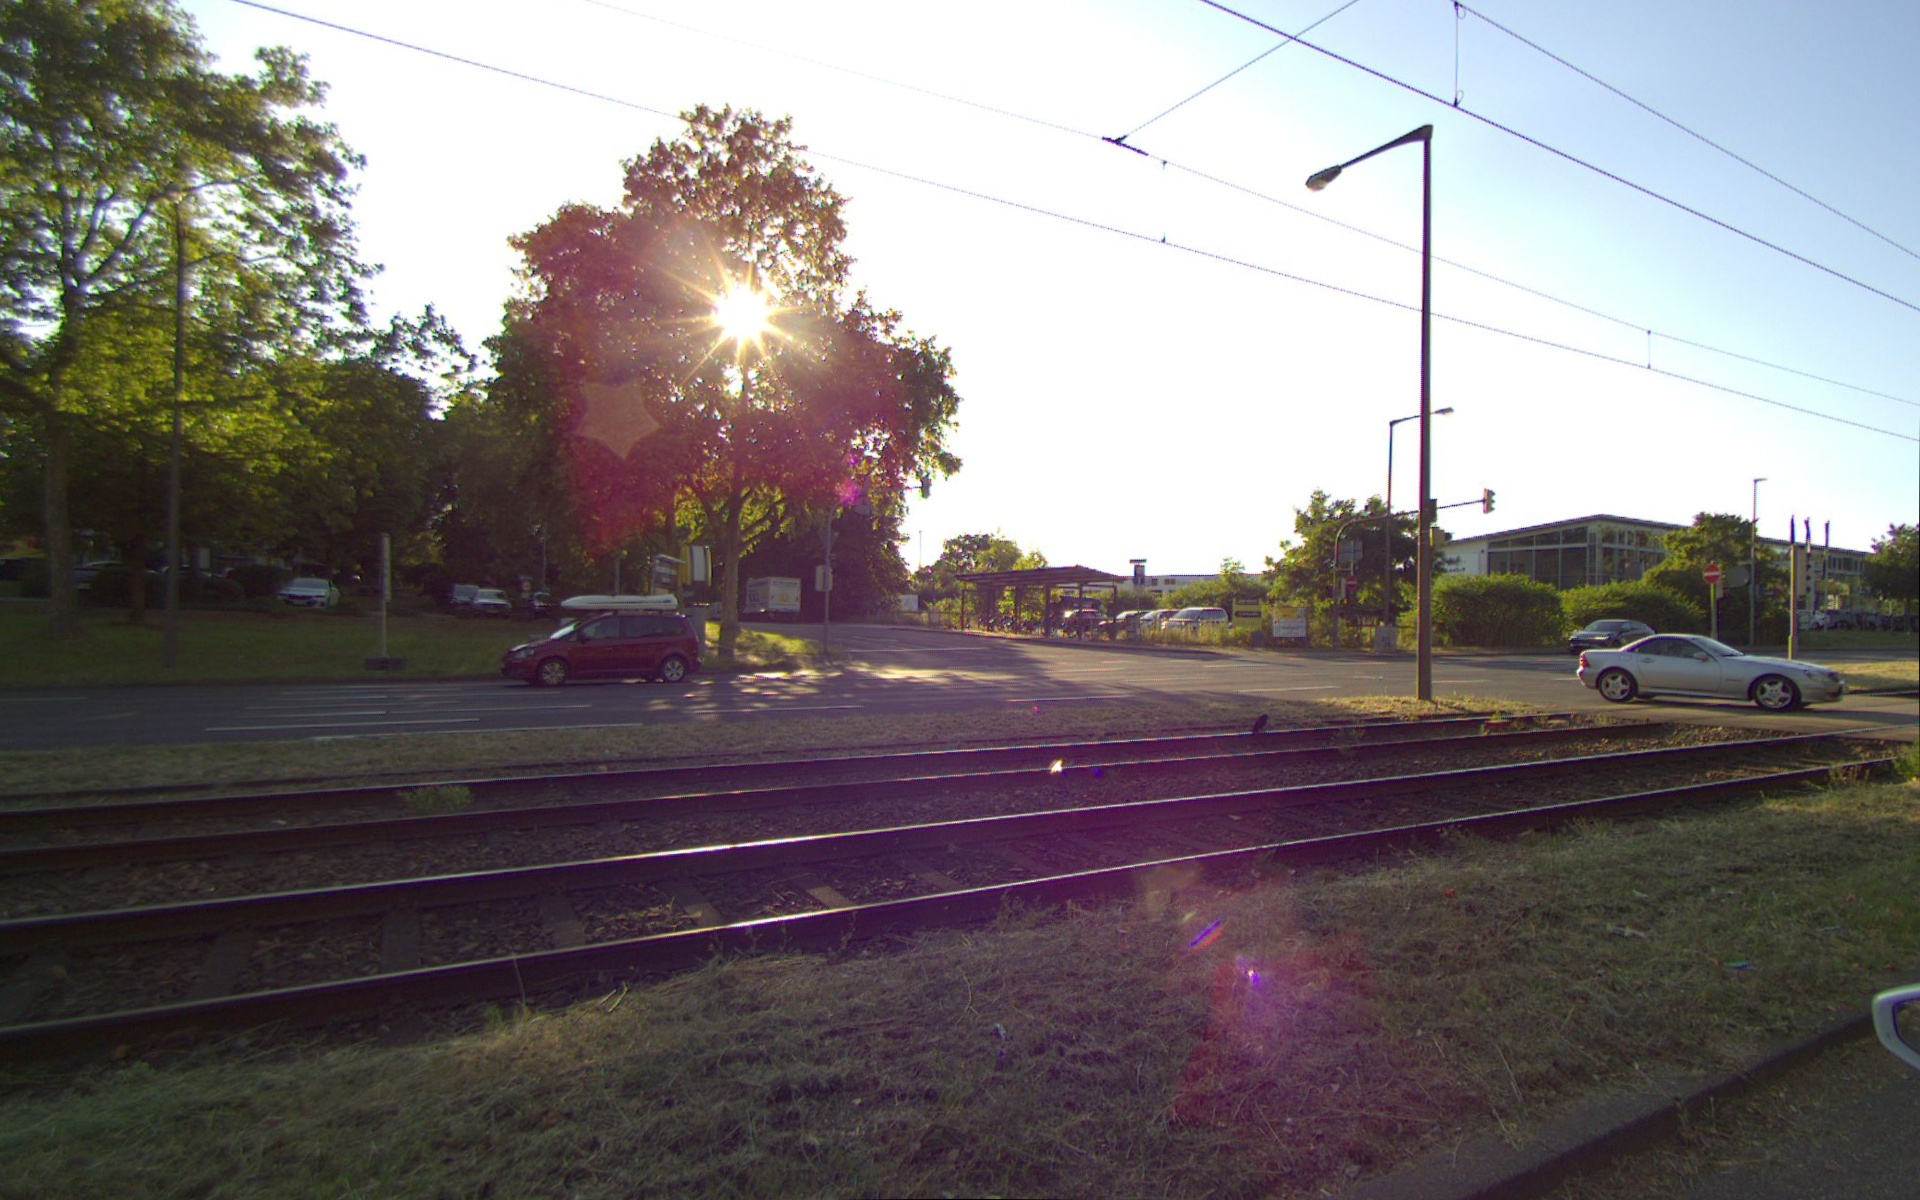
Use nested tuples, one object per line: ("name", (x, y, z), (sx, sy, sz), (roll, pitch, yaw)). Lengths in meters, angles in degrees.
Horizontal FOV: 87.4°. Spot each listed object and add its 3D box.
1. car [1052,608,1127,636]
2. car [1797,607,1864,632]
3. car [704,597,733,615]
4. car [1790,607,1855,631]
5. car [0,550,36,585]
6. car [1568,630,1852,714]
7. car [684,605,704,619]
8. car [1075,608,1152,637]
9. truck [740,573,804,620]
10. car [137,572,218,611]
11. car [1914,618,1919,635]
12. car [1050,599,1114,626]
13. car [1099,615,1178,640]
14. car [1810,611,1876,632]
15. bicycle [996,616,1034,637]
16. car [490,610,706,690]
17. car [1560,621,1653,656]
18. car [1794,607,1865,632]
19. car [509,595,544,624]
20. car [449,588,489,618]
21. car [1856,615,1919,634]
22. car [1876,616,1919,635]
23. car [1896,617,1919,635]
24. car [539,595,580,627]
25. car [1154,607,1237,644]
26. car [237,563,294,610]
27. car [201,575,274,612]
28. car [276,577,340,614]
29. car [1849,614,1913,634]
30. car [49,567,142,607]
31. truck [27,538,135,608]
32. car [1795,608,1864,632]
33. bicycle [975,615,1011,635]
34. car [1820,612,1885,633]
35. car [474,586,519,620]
("car", (7.729, 1.312, 59.995), (4.123, 1.604, 1.968), (1, 0, -30))
("car", (68.377, 1.508, 78.982), (3.940, 1.840, 1.735), (1, 0, 40))
("car", (-22.826, 0.525, 94.866), (1.711, 1.603, 4.028), (1, 0, -27))
("car", (69.339, 1.526, 80.827), (3.940, 1.840, 1.735), (1, 0, 40))
("car", (-53.847, -1.846, 56.385), (2.274, 1.875, 5.220), (2, 0, -36))
("car", (13.702, 1.250, 18.568), (1.599, 1.311, 3.942), (1, -1, -36))
("car", (-33.221, 1.447, 125.299), (1.887, 1.602, 4.036), (2, 0, -21))
("car", (8.833, 1.304, 57.800), (4.123, 1.604, 1.853), (1, 0, -30))
("truck", (-15.033, -0.254, 79.791), (2.782, 3.520, 8.292), (1, 0, -27))
("car", (-33.944, -0.366, 43.687), (1.916, 1.530, 4.071), (2, 0, -26))
("car", (91.312, 2.520, 93.020), (1.725, 1.642, 3.962), (1, 0, -34))
("car", (9.301, 0.962, 76.666), (4.715, 2.041, 1.853), (1, 0, -30))
("car", (9.952, 1.507, 55.869), (4.123, 1.284, 1.853), (1, 0, -30))
("car", (72.003, 1.765, 81.943), (3.940, 1.576, 1.735), (1, 0, 40))
("bicycle", (3.082, 1.496, 56.414), (2.004, 1.119, 0.777), (2, 0, -30))
("car", (-8.160, 1.118, 22.849), (4.274, 1.656, 1.823), (2, -2, -38))
("car", (29.825, 1.755, 46.343), (4.120, 1.501, 1.854), (1, 0, -29))
("car", (65.193, 1.459, 75.370), (3.940, 1.727, 1.735), (1, 0, 40))
("car", (-26.203, 0.535, 60.687), (1.836, 1.637, 4.036), (2, 0, -23))
("car", (-28.560, 0.157, 58.497), (1.836, 1.637, 4.036), (2, 0, -23))
("car", (81.780, 2.171, 88.509), (1.728, 1.576, 3.957), (1, 0, -37))
("car", (84.926, 2.294, 90.001), (1.726, 1.576, 3.960), (1, 0, -35))
("car", (88.396, 2.404, 91.741), (1.725, 1.642, 3.962), (1, 0, -34))
("car", (-20.427, 0.549, 51.140), (1.604, 1.477, 3.878), (2, 0, -27))
("car", (12.375, 1.345, 52.737), (4.123, 1.846, 1.853), (1, 0, -30))
("car", (-37.284, -0.719, 54.010), (2.138, 2.334, 4.370), (2, 0, -31))
("car", (-32.101, -0.293, 44.759), (1.916, 1.530, 4.071), (2, 0, -26))
("car", (-29.420, -0.192, 45.441), (1.916, 1.530, 4.071), (2, 0, -26))
("car", (79.628, 2.083, 86.891), (3.940, 1.576, 1.735), (1, 0, 40))
("car", (-36.076, -0.528, 42.023), (1.916, 1.530, 4.071), (2, 0, -26))
("truck", (-44.501, -1.309, 51.068), (2.468, 3.209, 6.187), (2, 0, -26))
("car", (66.739, 1.509, 77.170), (3.940, 1.727, 1.735), (1, 0, 40))
("bicycle", (1.941, 1.474, 59.050), (2.004, 1.119, 0.777), (2, 0, -30))
("car", (74.223, 1.861, 83.610), (3.940, 1.576, 1.735), (1, 0, 40))
("car", (-22.922, 0.137, 49.591), (1.916, 1.530, 4.071), (2, 0, -26))
